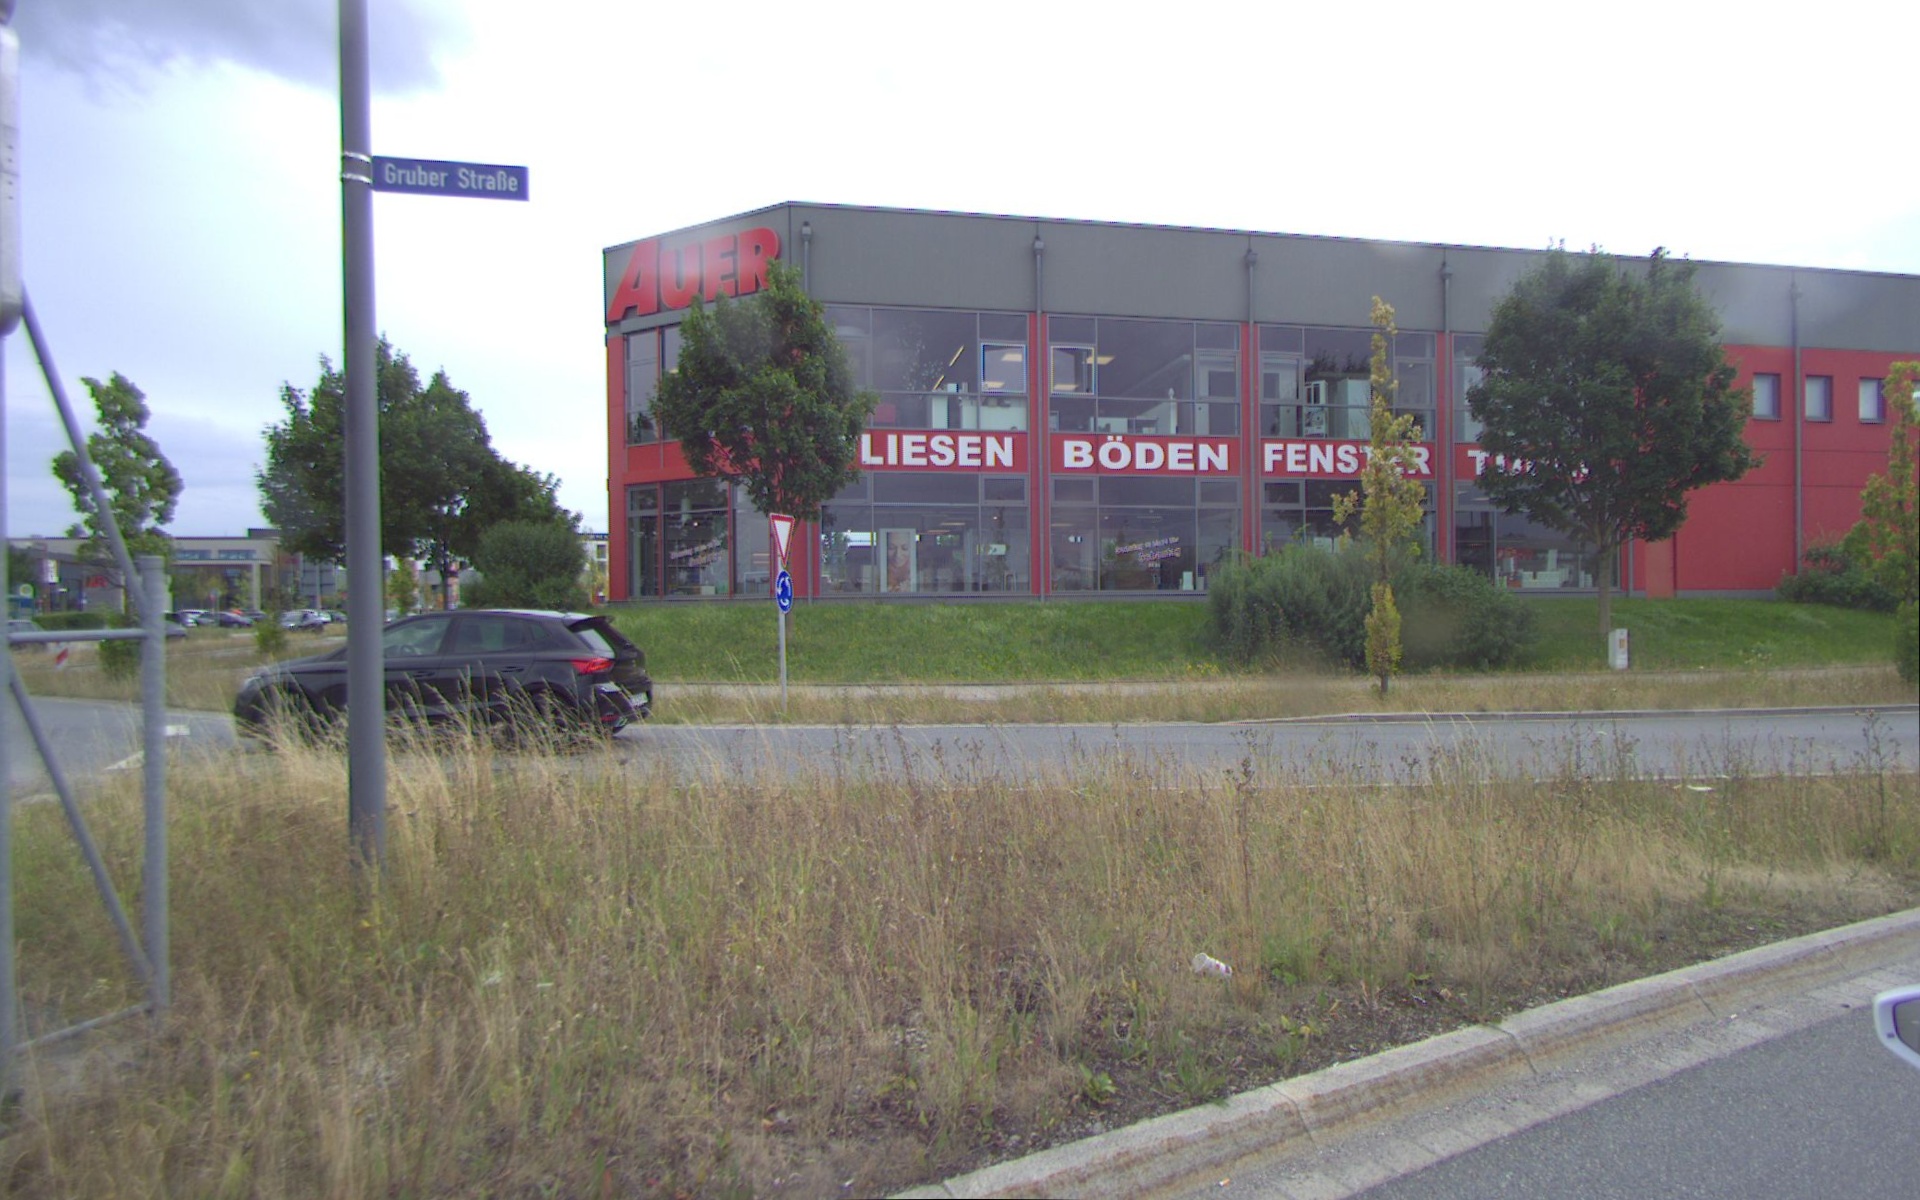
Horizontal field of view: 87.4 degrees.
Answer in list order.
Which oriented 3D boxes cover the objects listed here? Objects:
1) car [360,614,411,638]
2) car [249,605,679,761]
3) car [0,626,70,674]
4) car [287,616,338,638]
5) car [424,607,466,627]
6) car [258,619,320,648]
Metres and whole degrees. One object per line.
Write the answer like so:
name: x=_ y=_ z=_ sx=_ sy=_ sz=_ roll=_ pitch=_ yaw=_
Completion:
car: x=-43.241 y=1.941 z=75.675 sx=1.963 sy=1.655 sz=3.995 roll=1 pitch=0 yaw=-8
car: x=-5.045 y=0.805 z=10.561 sx=3.693 sy=1.478 sz=1.646 roll=0 pitch=0 yaw=0
car: x=-35.563 y=1.824 z=37.499 sx=1.804 sy=1.585 sz=3.828 roll=1 pitch=0 yaw=-12
car: x=-61.518 y=2.590 z=95.512 sx=3.700 sy=2.040 sz=1.647 roll=1 pitch=0 yaw=-4
car: x=-44.141 y=1.459 z=86.106 sx=1.963 sy=1.655 sz=3.995 roll=1 pitch=0 yaw=-8
car: x=-41.286 y=2.029 z=61.908 sx=1.908 sy=1.617 sz=3.762 roll=1 pitch=0 yaw=-12
